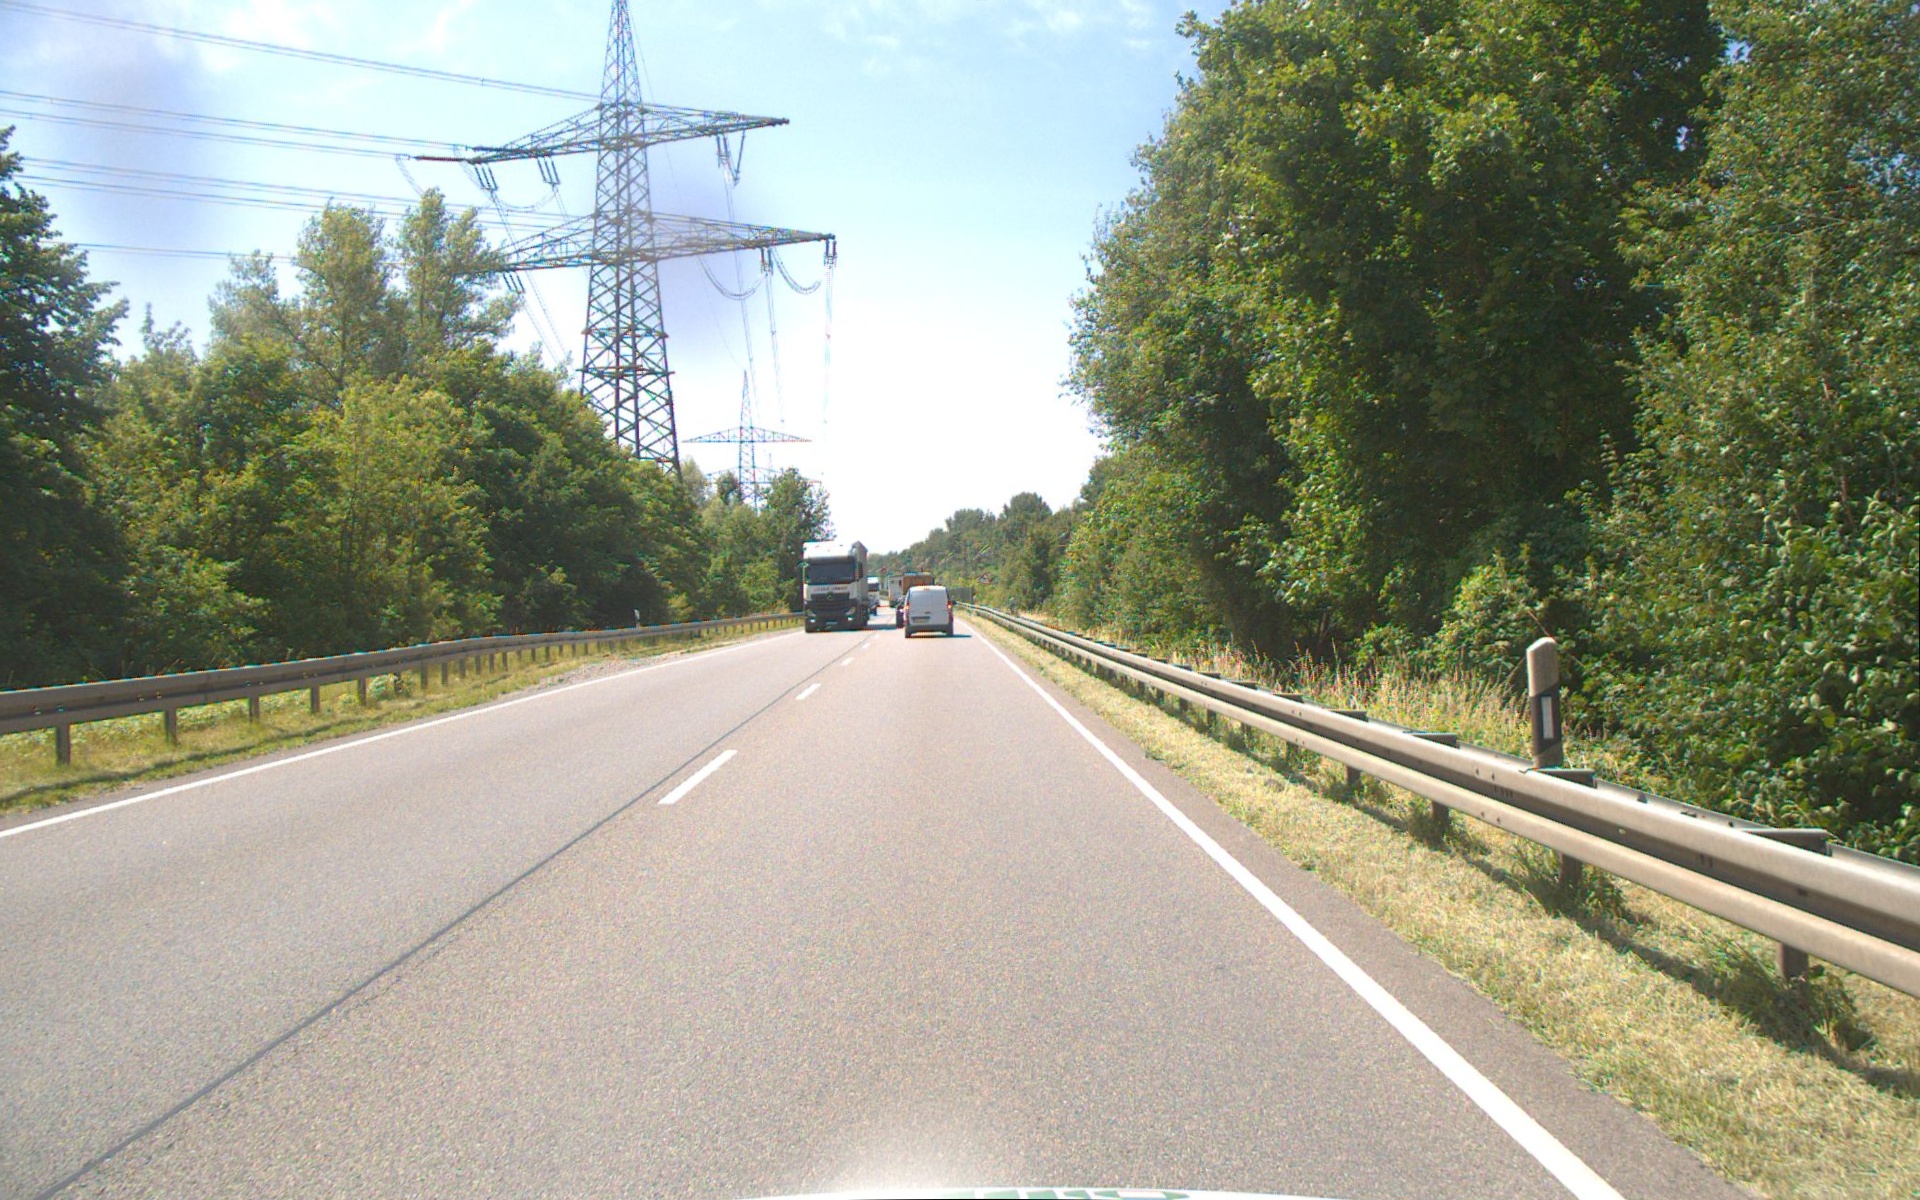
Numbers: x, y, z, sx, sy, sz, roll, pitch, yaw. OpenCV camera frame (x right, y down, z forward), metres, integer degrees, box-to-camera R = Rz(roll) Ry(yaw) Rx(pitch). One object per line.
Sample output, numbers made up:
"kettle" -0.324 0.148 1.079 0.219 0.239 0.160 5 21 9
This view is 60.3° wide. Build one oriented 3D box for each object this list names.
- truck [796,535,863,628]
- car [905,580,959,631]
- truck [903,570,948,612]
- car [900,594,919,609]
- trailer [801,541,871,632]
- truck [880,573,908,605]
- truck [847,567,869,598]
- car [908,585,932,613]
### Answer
"truck" -5.890 -0.813 75.399 2.707 4.069 5.905 -1 0 -1
"car" -1.018 0.184 59.258 1.837 1.772 3.999 0 0 -1
"truck" -3.013 -0.817 138.653 3.231 3.227 14.396 1 1 -3
"car" -5.660 0.147 183.901 1.954 1.553 3.998 -2 0 -3
"trailer" -6.023 -0.632 82.257 2.707 4.069 13.682 1 0 -1
"truck" -8.763 -1.516 216.684 3.335 3.922 16.808 1 1 -3
"truck" -14.308 -2.375 231.815 2.688 4.112 9.659 -3 0 -3
"car" -3.121 -0.086 127.316 1.728 2.049 3.997 0 0 -3
